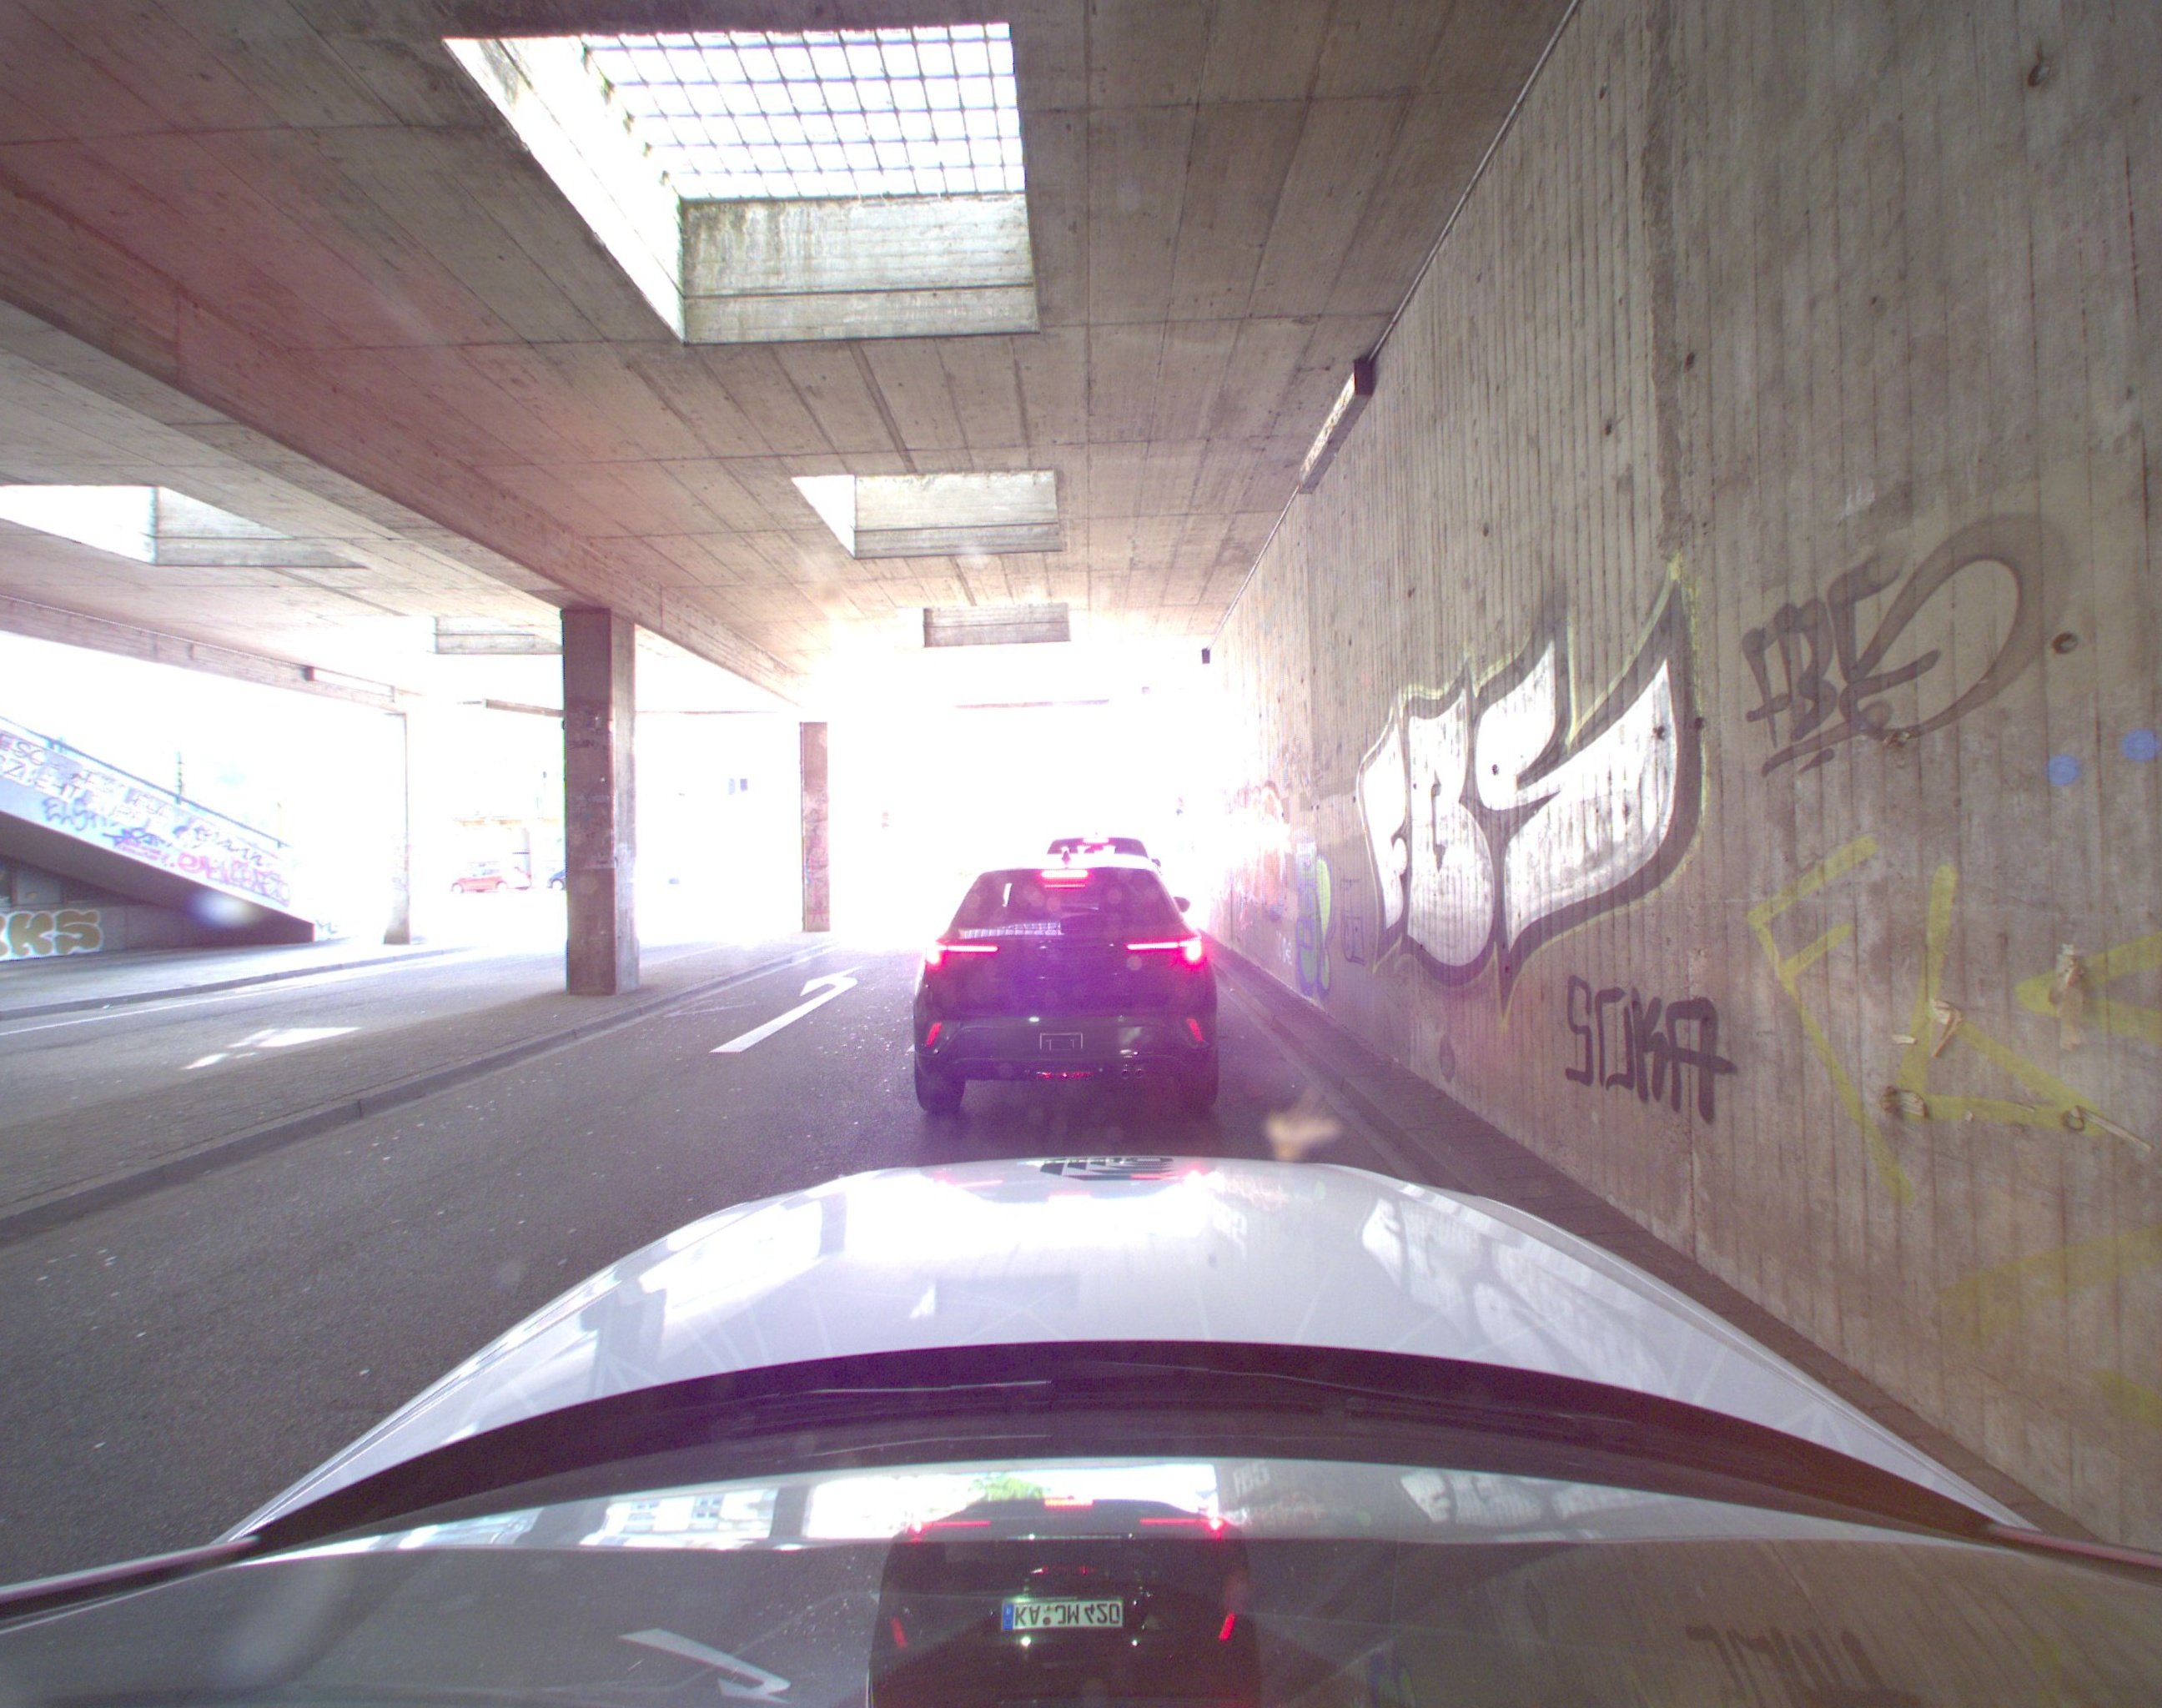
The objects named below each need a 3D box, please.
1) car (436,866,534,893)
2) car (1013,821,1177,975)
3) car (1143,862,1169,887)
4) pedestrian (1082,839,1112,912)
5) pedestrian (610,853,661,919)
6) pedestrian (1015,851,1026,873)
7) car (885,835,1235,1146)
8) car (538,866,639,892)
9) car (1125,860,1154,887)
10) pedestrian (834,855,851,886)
[{"bbox_3d":[-33.089,1.404,45.269,3.975,1.409,1.925,0,-1,-1],"label":"car"},{"bbox_3d":[0.234,0.545,12.122,1.986,1.871,4.002,-2,0,2],"label":"car"},{"bbox_3d":[6.336,1.702,68.451,1.983,1.970,4.172,0,-1,7],"label":"car"},{"bbox_3d":[0.398,0.521,19.998,0.728,1.734,0.874,0,-1,1],"label":"pedestrian"},{"bbox_3d":[-12.226,0.861,22.366,0.925,1.762,0.795,0,-1,3],"label":"pedestrian"},{"bbox_3d":[-5.959,0.785,79.831,0.887,2.088,0.810,0,-1,9],"label":"pedestrian"},{"bbox_3d":[-0.041,0.656,6.118,1.758,1.571,4.002,0,1,2],"label":"car"},{"bbox_3d":[-27.338,1.366,45.265,4.393,1.409,1.925,0,-1,-1],"label":"car"},{"bbox_3d":[4.512,1.449,62.361,1.983,1.970,4.172,0,-1,7],"label":"car"},{"bbox_3d":[-12.957,0.895,44.284,0.669,1.637,0.741,0,-1,1],"label":"pedestrian"}]
